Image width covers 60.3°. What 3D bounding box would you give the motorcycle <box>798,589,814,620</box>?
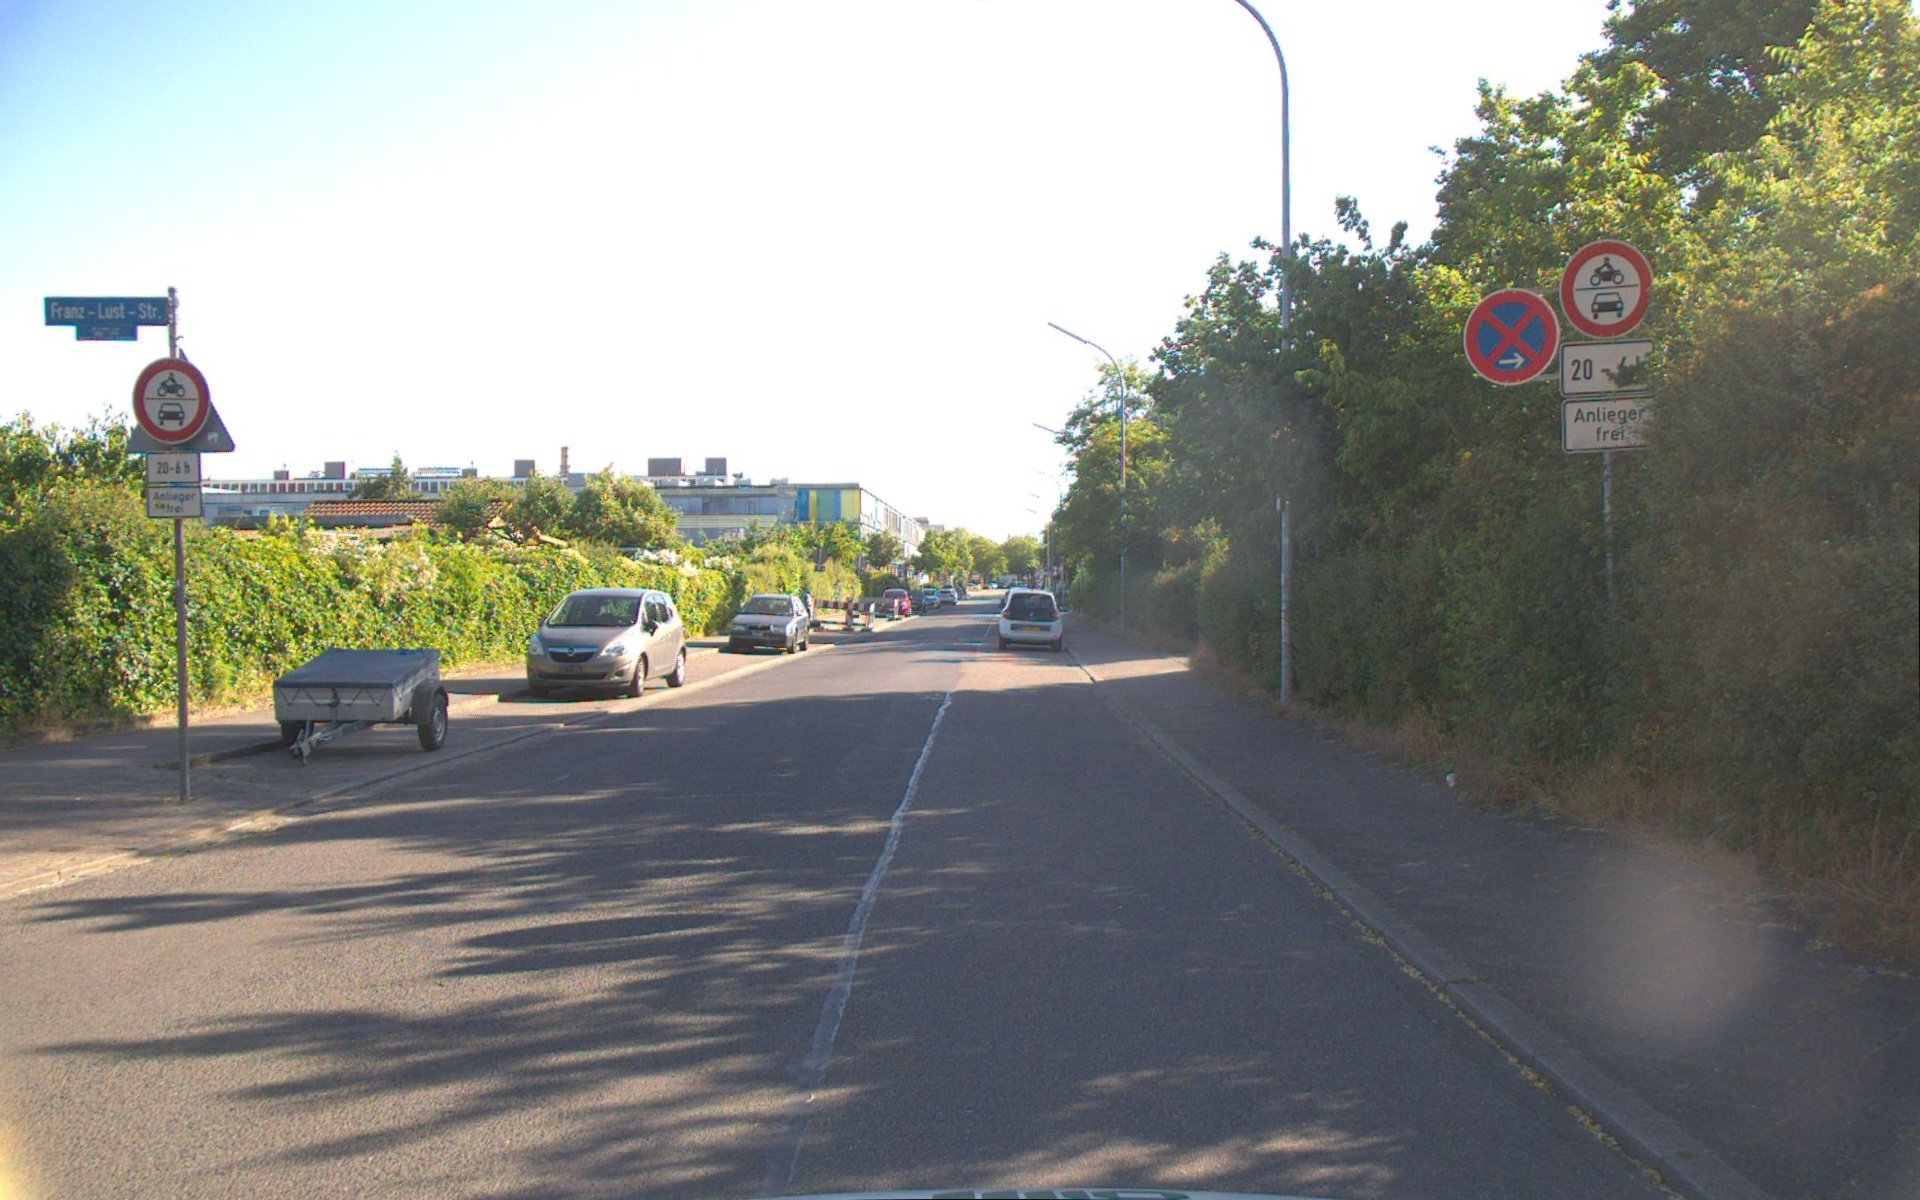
[{"bbox_3d":[-6.465,0.193,69.506,0.555,1.290,2.090,1,0,-2],"label":"motorcycle"}]

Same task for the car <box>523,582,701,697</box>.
[{"bbox_3d":[-5.366,0.561,26.042,1.609,1.628,4.313,2,0,4],"label":"car"}]

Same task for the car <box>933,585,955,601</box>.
[{"bbox_3d":[-1.507,-0.677,154.952,1.816,1.453,4.135,2,0,2],"label":"car"}]

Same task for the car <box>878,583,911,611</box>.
[{"bbox_3d":[-3.549,-0.174,90.304,1.527,1.521,3.571,0,0,2],"label":"car"}]

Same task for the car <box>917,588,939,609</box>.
[{"bbox_3d":[-2.411,-0.118,125.675,1.527,1.521,3.759,0,0,2],"label":"car"}]

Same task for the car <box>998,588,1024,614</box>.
[{"bbox_3d":[3.317,0.071,106.880,1.589,1.553,3.903,2,0,3],"label":"car"}]

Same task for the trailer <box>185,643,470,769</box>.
[{"bbox_3d":[-5.887,0.950,15.673,1.511,0.970,2.648,2,0,4],"label":"trailer"}]

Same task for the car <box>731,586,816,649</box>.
[{"bbox_3d":[-4.869,0.430,43.577,1.609,1.583,4.418,0,0,2],"label":"car"}]

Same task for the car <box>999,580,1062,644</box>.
[{"bbox_3d":[1.841,0.290,43.598,1.523,1.565,3.556,2,0,2],"label":"car"}]

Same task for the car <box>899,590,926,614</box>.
[{"bbox_3d":[-3.084,0.131,108.636,1.527,1.521,3.571,3,0,2],"label":"car"}]
